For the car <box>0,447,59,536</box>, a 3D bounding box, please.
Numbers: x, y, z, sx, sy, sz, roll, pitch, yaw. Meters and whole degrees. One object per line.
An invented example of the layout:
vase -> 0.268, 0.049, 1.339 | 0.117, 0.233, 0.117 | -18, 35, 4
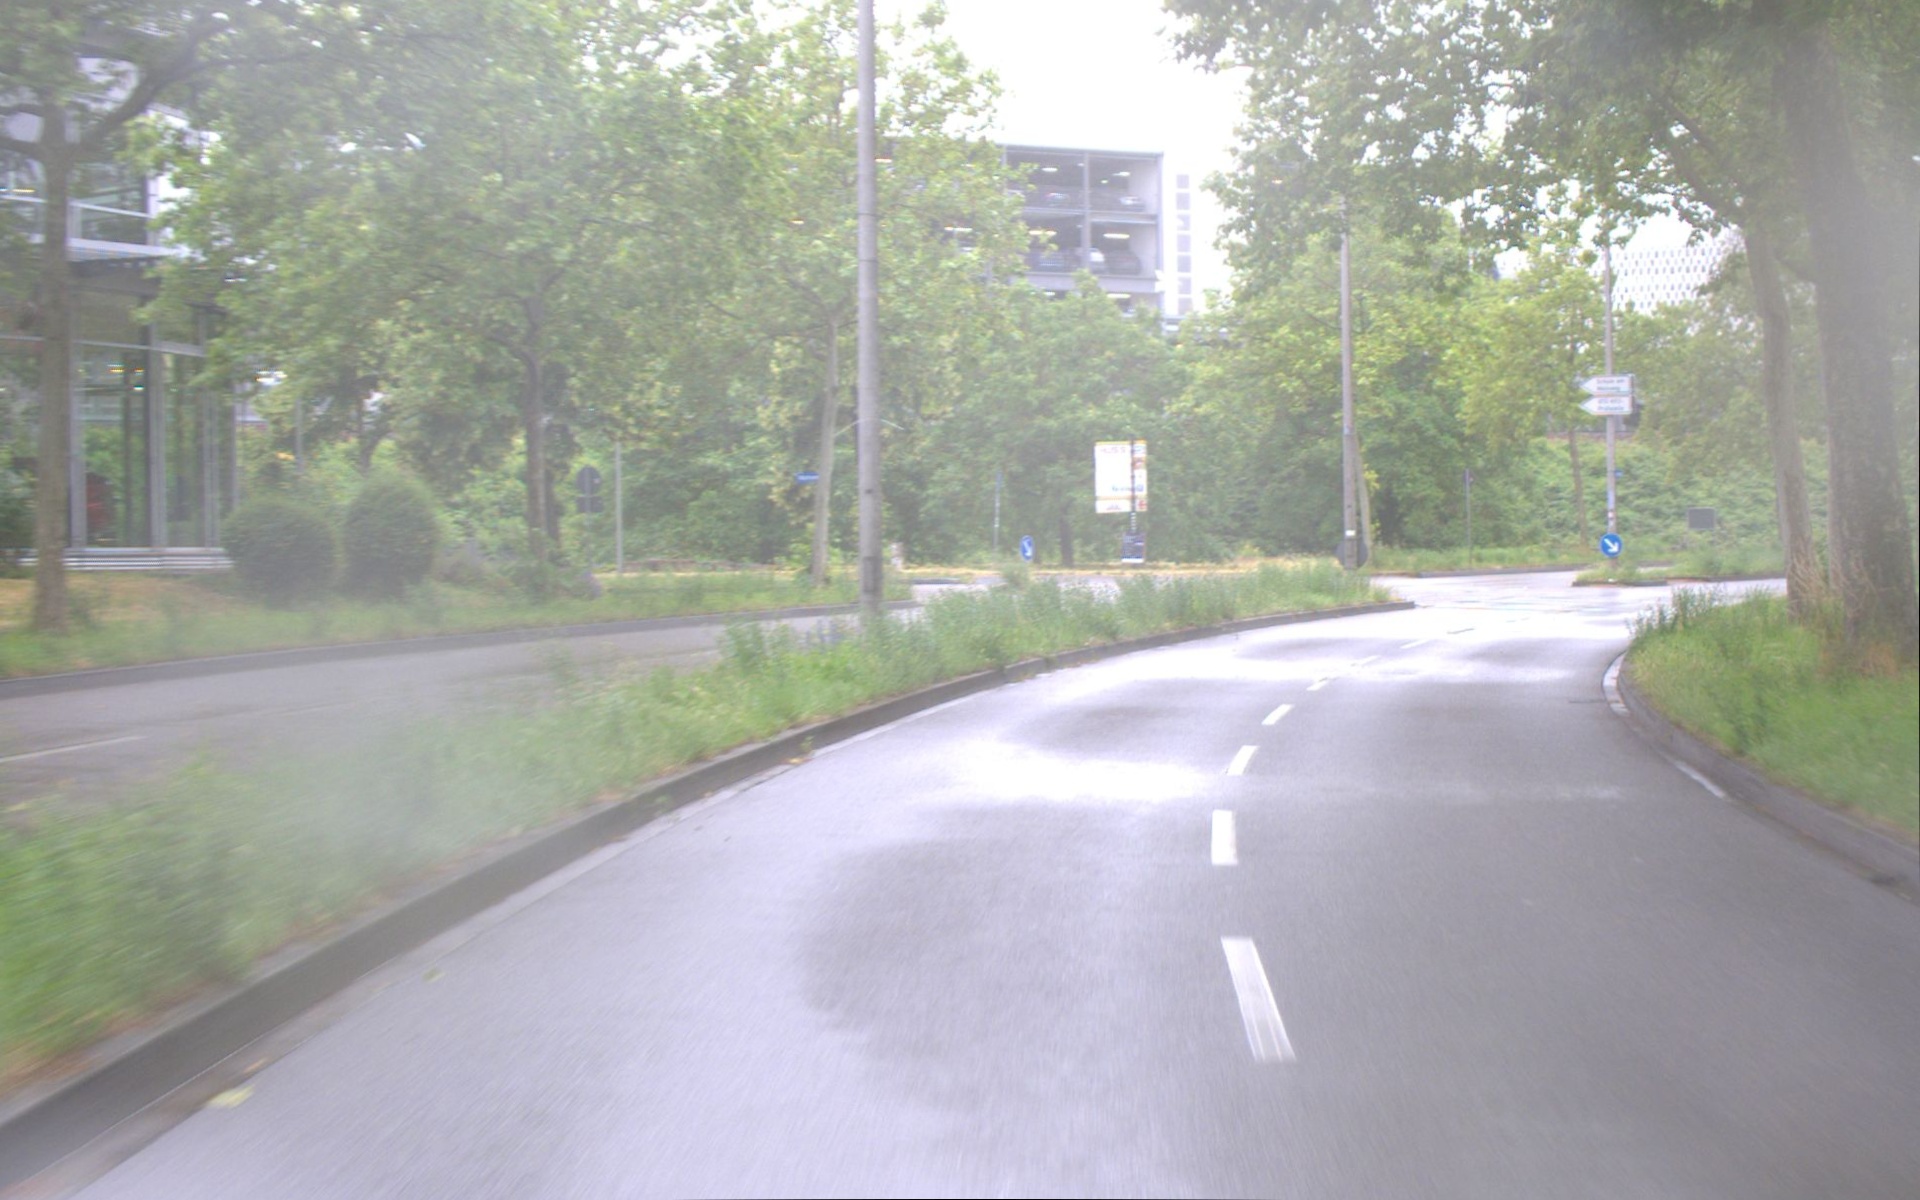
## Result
car -> -17.070, -1.790, 56.542 | 1.783, 1.471, 4.103 | 1, 1, 38

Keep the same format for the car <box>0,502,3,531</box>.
car -> -14.985, -0.816, 45.465 | 3.988, 1.470, 1.784 | 5, 3, -43
